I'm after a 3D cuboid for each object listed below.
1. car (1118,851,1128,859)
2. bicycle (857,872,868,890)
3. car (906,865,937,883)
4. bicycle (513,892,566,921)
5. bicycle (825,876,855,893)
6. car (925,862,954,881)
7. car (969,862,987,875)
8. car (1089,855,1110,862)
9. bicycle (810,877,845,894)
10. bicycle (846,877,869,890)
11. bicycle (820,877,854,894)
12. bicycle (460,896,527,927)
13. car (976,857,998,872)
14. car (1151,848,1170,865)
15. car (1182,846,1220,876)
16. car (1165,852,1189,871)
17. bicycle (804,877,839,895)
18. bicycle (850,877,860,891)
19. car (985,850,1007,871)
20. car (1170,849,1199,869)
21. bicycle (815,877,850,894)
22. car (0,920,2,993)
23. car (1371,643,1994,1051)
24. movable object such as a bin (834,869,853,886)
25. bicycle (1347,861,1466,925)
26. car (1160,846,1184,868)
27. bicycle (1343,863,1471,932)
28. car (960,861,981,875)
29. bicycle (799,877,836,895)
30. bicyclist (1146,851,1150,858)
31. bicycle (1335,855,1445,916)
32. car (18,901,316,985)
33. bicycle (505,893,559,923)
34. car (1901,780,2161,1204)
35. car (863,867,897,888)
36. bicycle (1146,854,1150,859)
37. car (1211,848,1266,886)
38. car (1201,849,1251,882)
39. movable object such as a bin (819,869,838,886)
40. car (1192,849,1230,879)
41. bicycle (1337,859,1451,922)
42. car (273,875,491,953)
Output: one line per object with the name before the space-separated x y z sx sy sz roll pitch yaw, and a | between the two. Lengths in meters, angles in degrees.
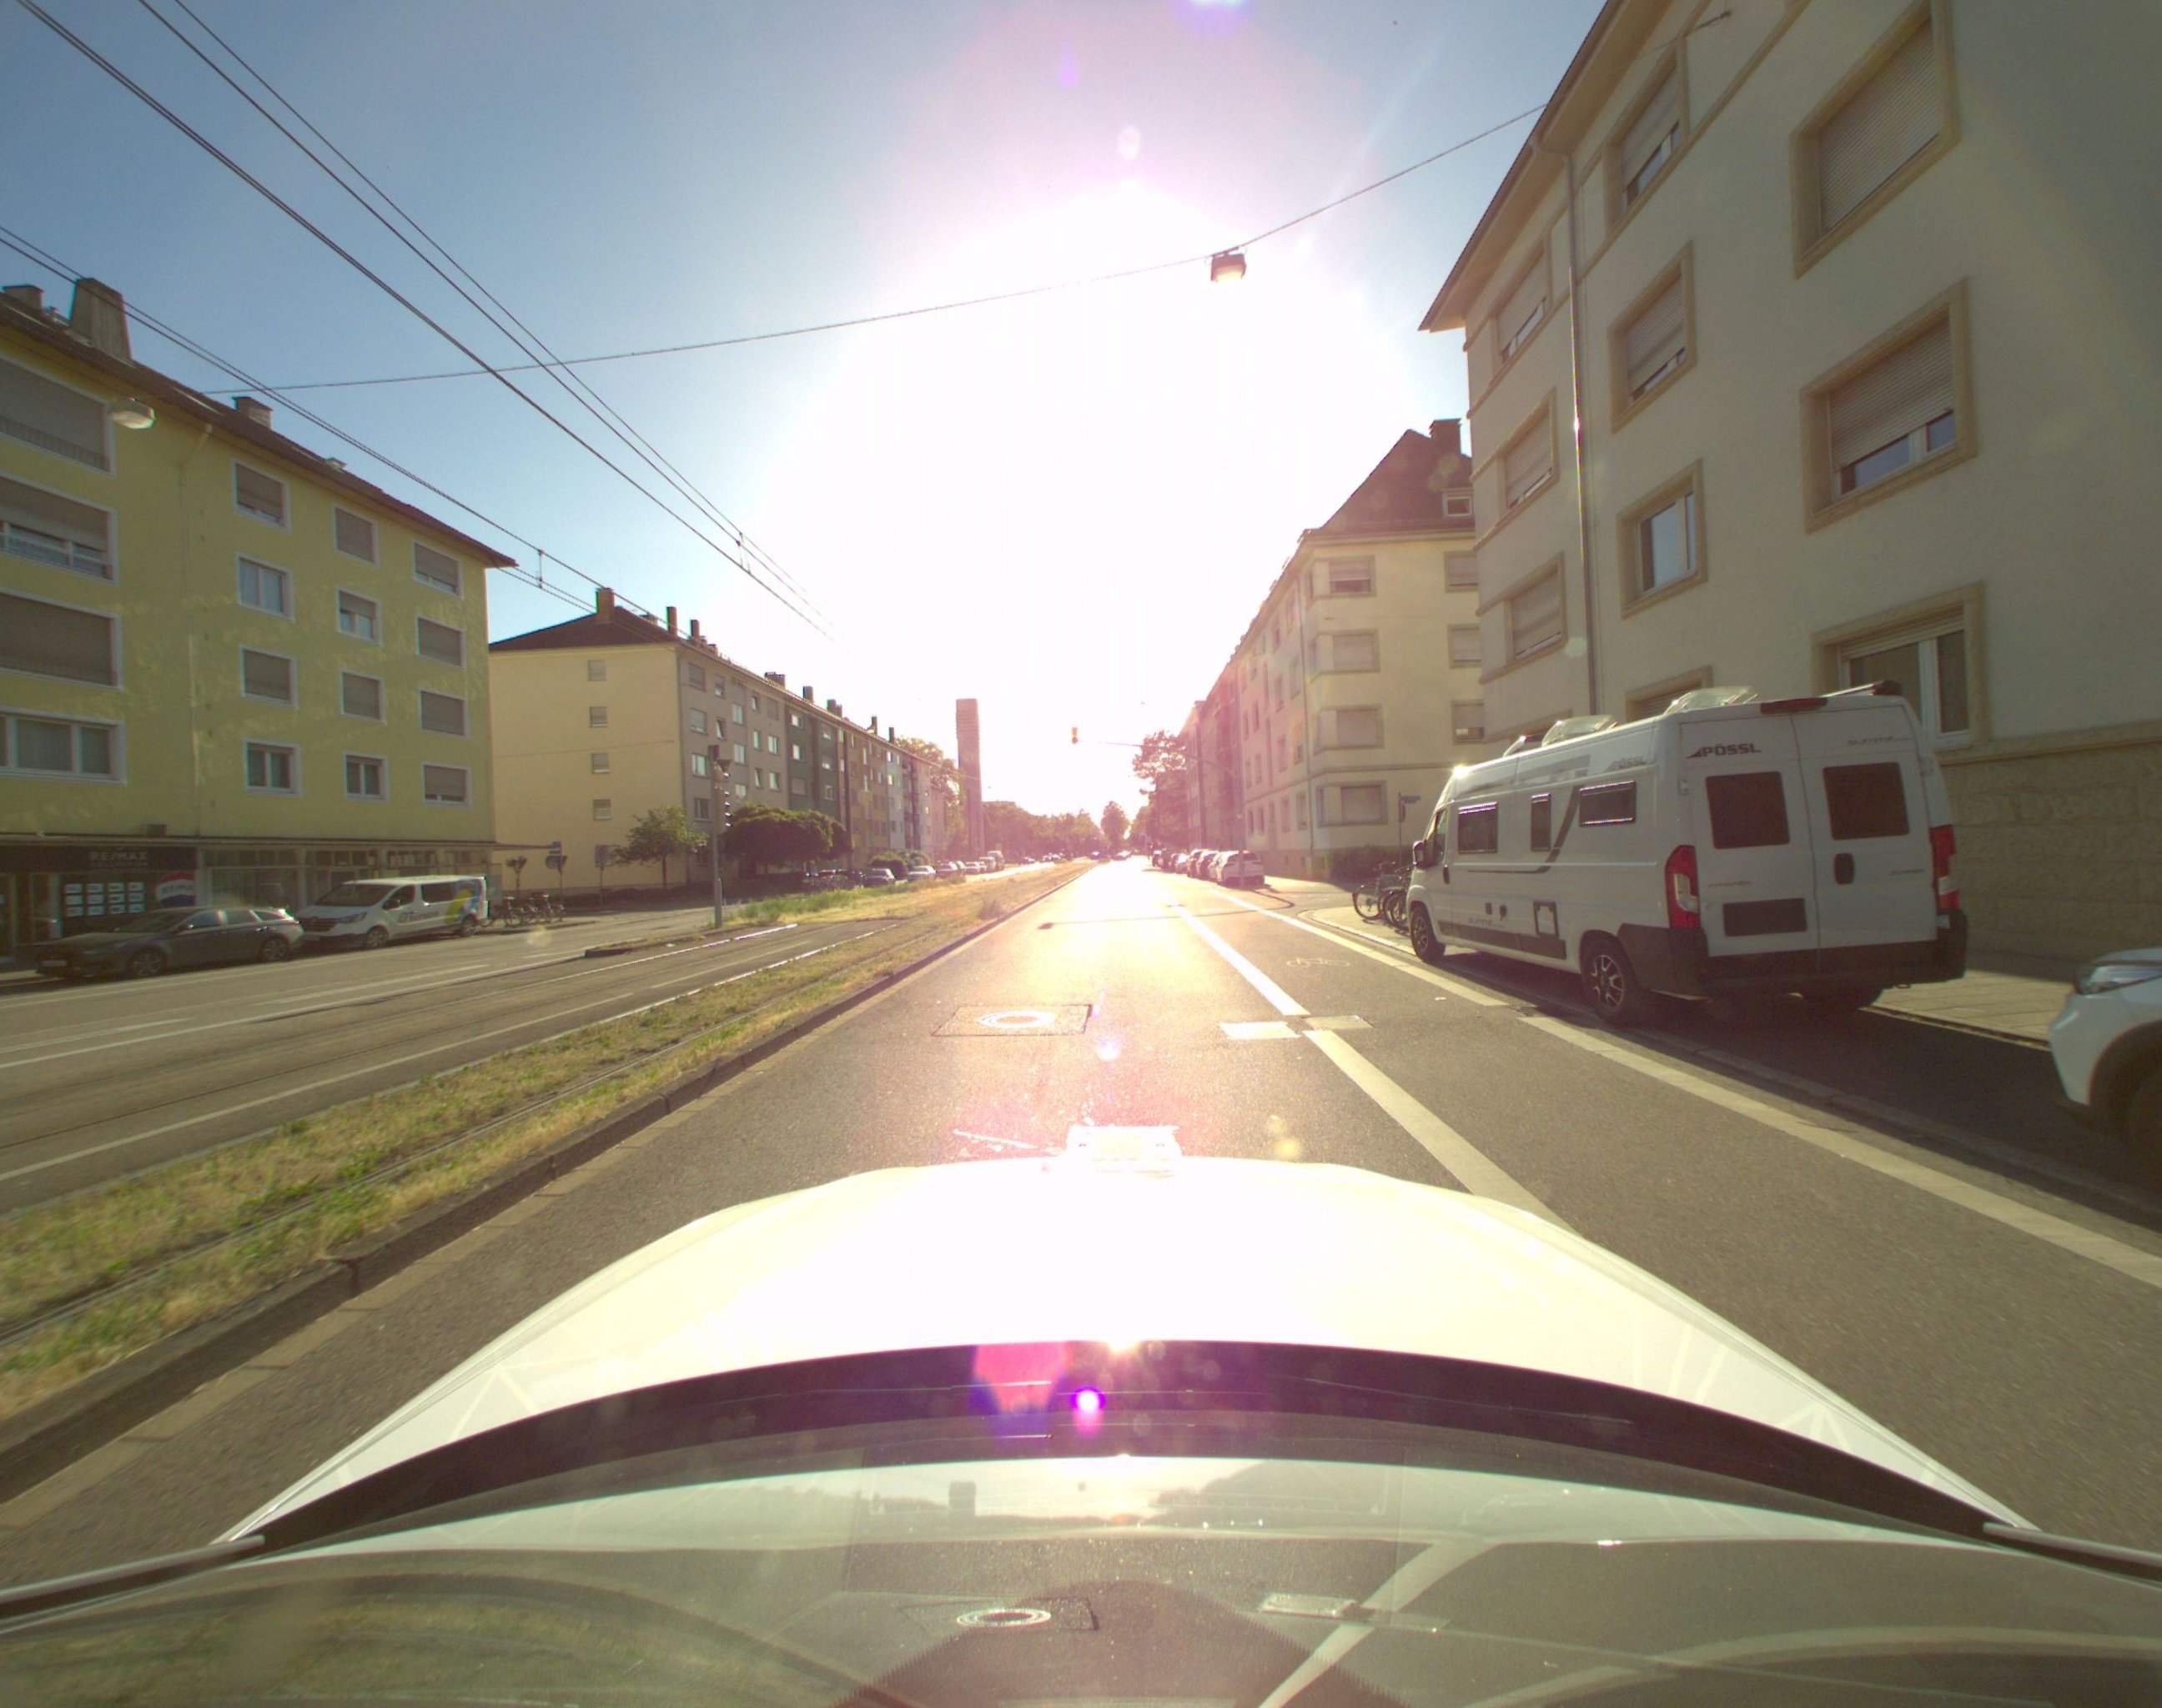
car | 7.881 0.148 152.812 1.689 1.508 3.699 -1 0 0
bicycle | -14.782 1.823 55.096 0.509 1.092 1.930 0 0 -9
car | -14.360 1.749 73.682 1.722 1.454 4.379 -2 0 3
bicycle | -20.996 2.035 31.580 1.812 1.105 0.391 0 0 2
bicycle | -16.037 2.023 54.180 2.028 1.092 0.619 0 0 29
car | -14.537 1.787 84.035 1.985 1.838 4.612 0 0 2
car | -13.175 1.794 104.489 1.689 1.515 4.325 -2 0 0
car | 4.085 0.950 181.958 4.521 1.611 1.879 0 0 -38
bicycle | -15.971 1.987 51.394 2.036 1.092 0.617 0 0 8
bicycle | -15.001 1.991 54.639 1.567 0.869 0.420 0 0 24
bicycle | -15.797 2.028 52.801 2.036 1.092 0.617 0 0 8
bicycle | -21.176 2.068 29.371 2.089 1.105 0.473 0 0 2
car | -12.652 1.400 110.438 2.023 2.021 5.375 0 0 3
car | 9.345 0.269 96.363 1.871 1.716 4.938 -6 0 3
car | 7.549 0.417 51.511 1.630 1.647 4.374 -5 0 0
car | 8.218 0.590 69.740 1.629 1.453 3.792 -5 0 3
bicycle | -16.114 1.992 50.580 2.036 1.092 0.617 0 0 8
bicycle | -15.233 1.991 54.884 0.376 0.866 2.048 0 0 -9
car | -12.289 0.944 117.752 2.023 2.868 6.234 -2 0 4
car | 7.841 0.379 62.110 1.696 1.275 4.305 -6 0 2
bicycle | -15.887 2.003 52.103 2.036 1.092 0.617 0 0 8
car | -21.765 1.988 13.838 1.776 1.385 3.770 0 0 2
car | 5.341 -0.059 8.876 2.142 2.696 6.295 -5 0 2
movable object such as a bin | -19.059 1.872 65.462 1.141 1.368 1.040 0 0 5
bicycle | 5.782 0.711 14.542 0.476 1.087 1.894 1 -4 -45
car | 9.078 0.281 81.482 1.906 1.899 5.138 -6 0 2
bicycle | 5.556 0.718 13.979 2.003 1.087 0.489 0 0 44
car | -13.409 1.674 98.922 1.886 1.491 4.703 -1 0 0
bicycle | -16.138 1.947 49.875 2.036 1.092 0.617 0 0 8
bicyclist | 12.173 0.146 147.657 0.635 1.323 0.804 0 0 5
bicycle | 6.008 0.633 15.911 0.477 1.087 1.894 -7 1 -45
car | -21.262 1.993 19.312 1.776 1.474 4.598 0 0 2
bicycle | -21.002 2.065 31.158 1.812 1.105 0.391 0 0 2
car | 5.042 0.485 1.779 1.841 1.637 4.575 -4 0 0
car | -14.941 1.750 60.682 1.630 1.442 3.734 -1 0 0
bicycle | 12.171 0.481 147.592 0.645 0.972 1.806 0 0 5
car | 6.760 0.523 35.380 1.687 1.458 4.383 -4 0 3
car | 7.266 0.548 41.134 1.631 1.458 4.079 -4 0 -1
movable object such as a bin | -20.348 1.878 65.534 1.141 1.368 1.040 0 0 5
car | 7.306 0.539 46.009 1.629 1.517 4.192 -4 0 3
bicycle | 5.839 0.691 15.275 0.477 1.087 1.894 -4 0 -44
car | -21.166 1.721 25.085 1.987 1.949 5.499 0 0 -1
